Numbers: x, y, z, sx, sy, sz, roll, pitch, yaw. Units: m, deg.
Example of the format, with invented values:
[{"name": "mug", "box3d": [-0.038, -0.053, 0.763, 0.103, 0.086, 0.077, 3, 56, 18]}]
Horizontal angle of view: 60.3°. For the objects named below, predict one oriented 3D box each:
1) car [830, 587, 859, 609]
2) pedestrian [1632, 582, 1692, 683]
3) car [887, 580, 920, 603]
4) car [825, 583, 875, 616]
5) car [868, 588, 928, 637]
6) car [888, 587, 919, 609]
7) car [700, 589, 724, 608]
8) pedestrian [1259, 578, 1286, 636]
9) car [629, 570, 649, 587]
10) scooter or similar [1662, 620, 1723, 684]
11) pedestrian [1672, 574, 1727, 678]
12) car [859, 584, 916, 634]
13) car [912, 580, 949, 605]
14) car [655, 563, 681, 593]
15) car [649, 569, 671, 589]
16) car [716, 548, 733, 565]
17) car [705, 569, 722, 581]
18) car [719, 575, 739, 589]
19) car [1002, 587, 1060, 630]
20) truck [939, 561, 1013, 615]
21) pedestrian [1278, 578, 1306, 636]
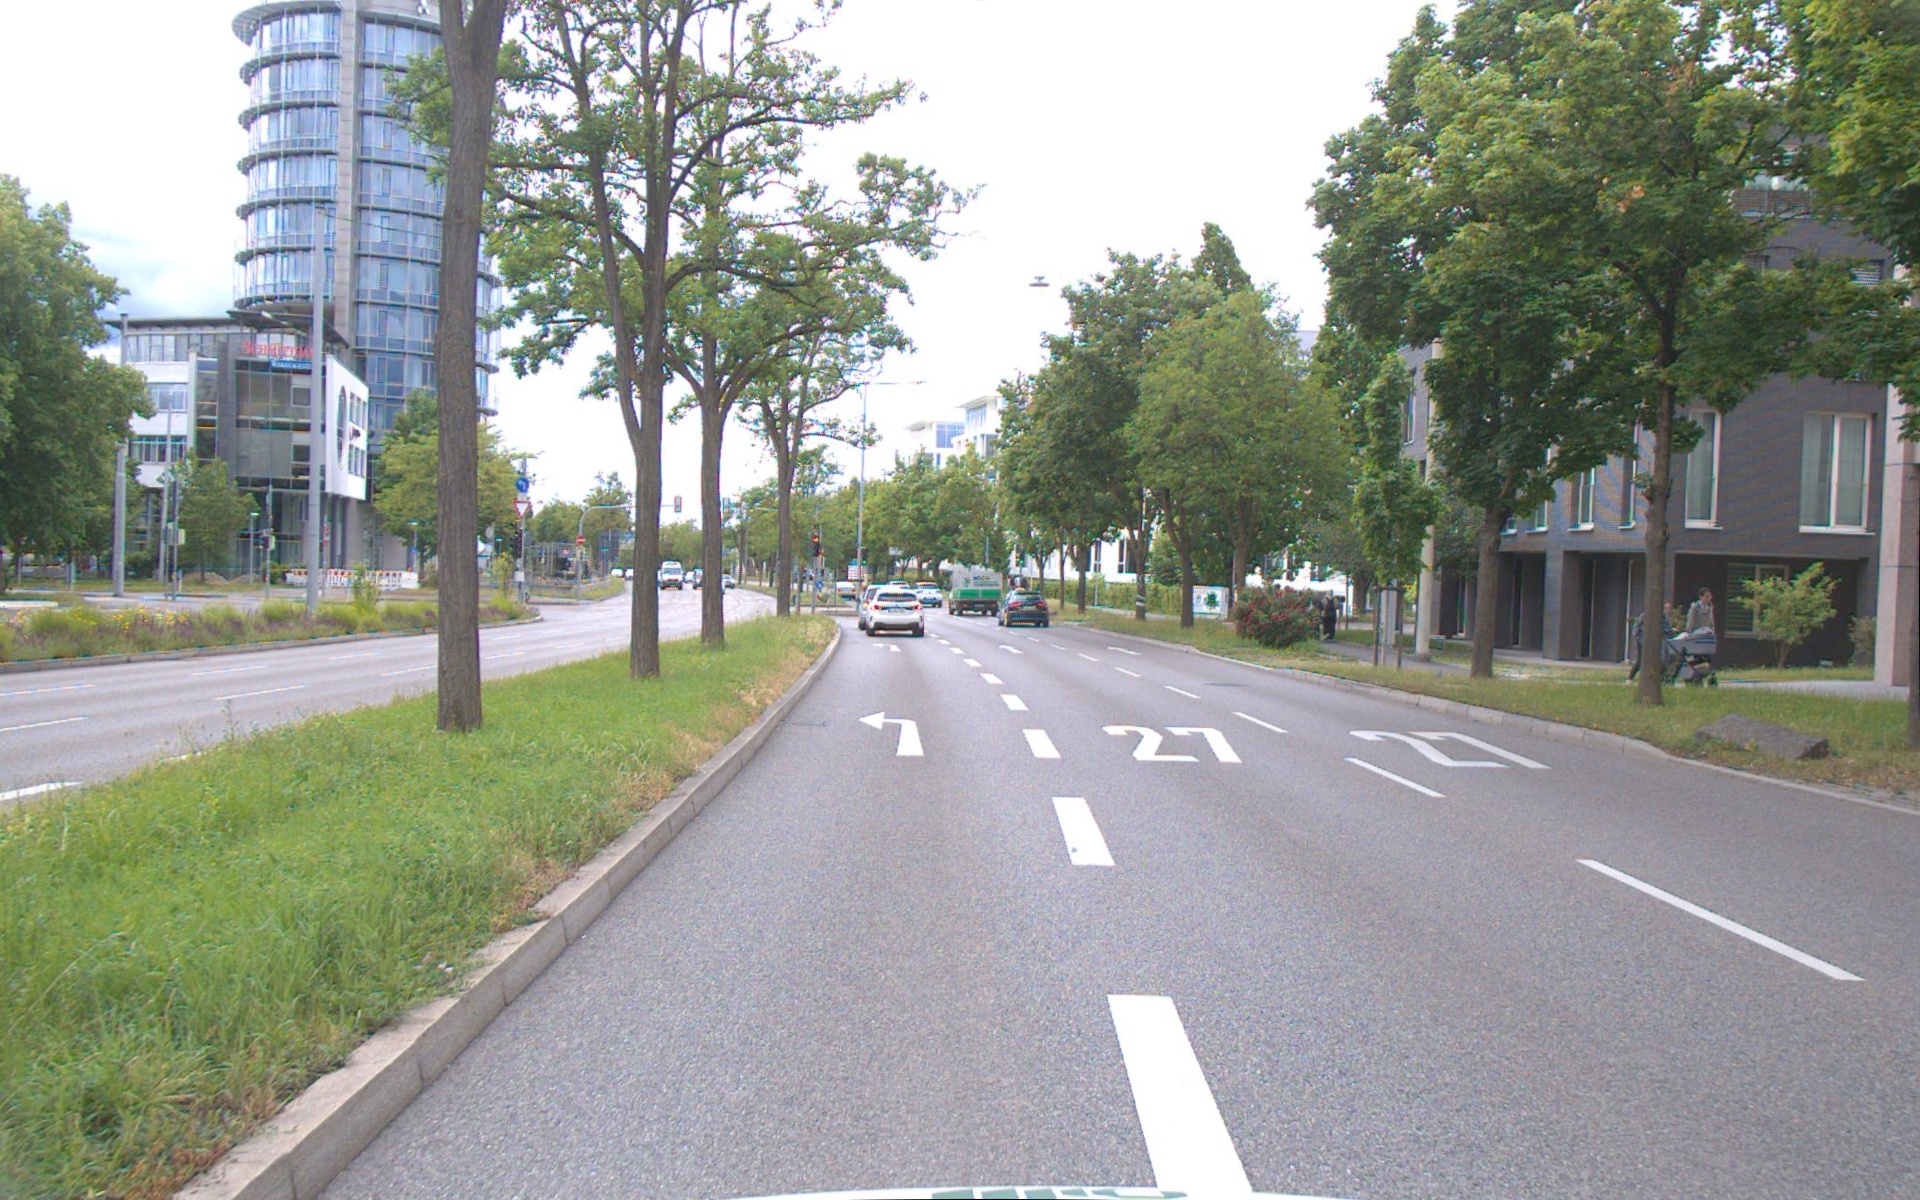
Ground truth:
[{"name": "car", "box3d": [-8.728, -0.164, 124.917, 1.955, 1.516, 3.995, 2, 0, -6]}, {"name": "pedestrian", "box3d": [11.897, 0.534, 28.050, 0.544, 1.681, 0.960, 0, 0, -7]}, {"name": "car", "box3d": [-4.014, -0.623, 117.011, 1.955, 1.534, 3.995, 2, 0, -6]}, {"name": "car", "box3d": [-5.266, -0.019, 79.508, 1.952, 1.534, 4.001, 1, 0, 2]}, {"name": "car", "box3d": [-1.938, 0.389, 52.689, 1.825, 1.474, 3.999, 1, 0, -1]}, {"name": "car", "box3d": [-4.130, -0.168, 120.249, 1.955, 1.516, 3.995, 2, 0, -6]}, {"name": "car", "box3d": [-20.855, -0.100, 139.147, 1.719, 1.469, 4.129, 3, 0, -6]}, {"name": "pedestrian", "box3d": [9.963, 0.218, 52.726, 0.596, 1.806, 0.953, 1, 2, -3]}, {"name": "car", "box3d": [-38.267, -2.552, 197.360, 1.955, 1.885, 4.318, 3, 0, -6]}, {"name": "scooter or similar", "box3d": [12.014, 0.849, 27.145, 0.572, 1.011, 0.845, 0, 0, -7]}, {"name": "pedestrian", "box3d": [12.592, 0.433, 28.174, 0.555, 1.729, 0.829, 1, 0, 1]}, {"name": "car", "box3d": [-2.621, 0.309, 59.648, 1.954, 1.701, 3.998, 1, 0, -3]}, {"name": "car", "box3d": [-1.901, -0.468, 104.331, 1.955, 1.534, 3.995, 1, 0, -6]}, {"name": "car", "box3d": [-28.017, -2.101, 158.978, 1.955, 2.679, 5.867, 3, 0, -6]}, {"name": "car", "box3d": [-32.947, -2.331, 181.832, 1.955, 2.045, 4.318, 3, 0, -6]}, {"name": "car", "box3d": [-30.886, -5.657, 217.007, 1.955, 2.045, 4.318, 3, 0, -6]}, {"name": "car", "box3d": [-34.928, -3.544, 234.672, 1.954, 1.646, 3.997, 3, 0, -4]}, {"name": "car", "box3d": [-24.120, -1.887, 172.758, 1.719, 1.395, 3.777, 0, 0, -4]}, {"name": "car", "box3d": [2.777, 0.306, 65.900, 1.953, 1.624, 3.998, 1, 0, -2]}, {"name": "truck", "box3d": [0.751, -0.602, 84.213, 2.806, 2.563, 6.276, 1, 0, -8]}, {"name": "pedestrian", "box3d": [10.593, 0.224, 52.805, 0.596, 1.806, 0.953, 1, 2, -3]}]
